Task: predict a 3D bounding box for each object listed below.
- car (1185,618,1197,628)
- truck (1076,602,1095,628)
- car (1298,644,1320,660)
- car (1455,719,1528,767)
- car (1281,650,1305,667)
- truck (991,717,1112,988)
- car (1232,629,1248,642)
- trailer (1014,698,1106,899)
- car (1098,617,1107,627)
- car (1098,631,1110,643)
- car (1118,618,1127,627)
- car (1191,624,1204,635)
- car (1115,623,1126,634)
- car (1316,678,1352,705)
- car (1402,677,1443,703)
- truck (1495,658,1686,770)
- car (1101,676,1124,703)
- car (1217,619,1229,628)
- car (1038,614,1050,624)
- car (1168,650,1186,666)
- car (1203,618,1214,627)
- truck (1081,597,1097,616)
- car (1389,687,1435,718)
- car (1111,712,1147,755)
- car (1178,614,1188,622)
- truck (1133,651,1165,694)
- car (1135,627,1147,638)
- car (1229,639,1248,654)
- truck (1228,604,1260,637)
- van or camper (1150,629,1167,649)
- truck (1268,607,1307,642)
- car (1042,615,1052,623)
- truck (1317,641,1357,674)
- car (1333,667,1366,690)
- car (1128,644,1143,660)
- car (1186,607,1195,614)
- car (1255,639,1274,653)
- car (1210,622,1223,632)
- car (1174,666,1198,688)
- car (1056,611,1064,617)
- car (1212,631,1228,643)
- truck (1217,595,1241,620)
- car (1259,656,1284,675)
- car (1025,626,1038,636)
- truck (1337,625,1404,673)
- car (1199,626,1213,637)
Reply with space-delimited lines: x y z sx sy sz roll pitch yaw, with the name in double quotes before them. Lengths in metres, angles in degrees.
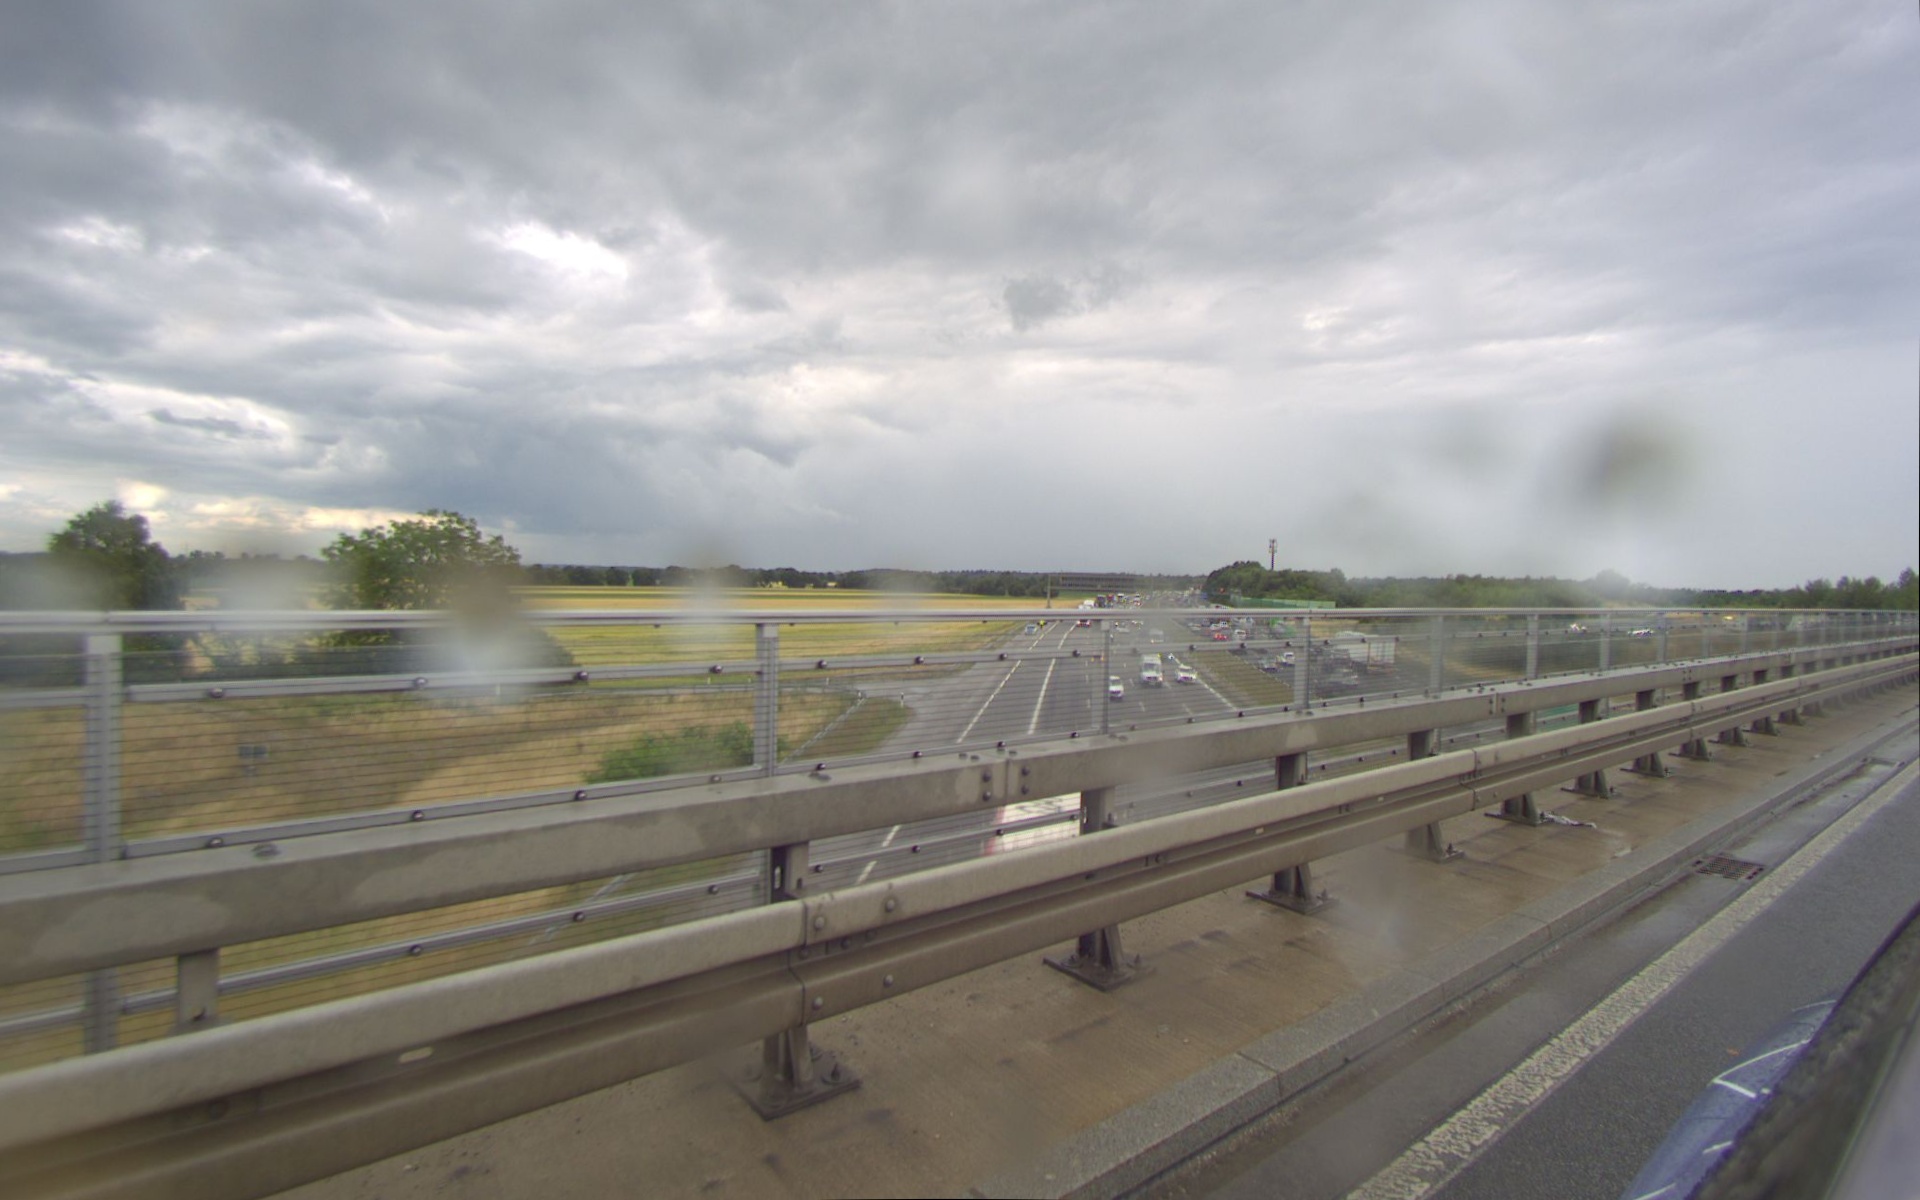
"car" 46.535 4.581 203.875 1.826 1.797 4.713 0 0 8
"truck" 25.264 2.975 203.367 2.751 4.962 12.711 0 0 12
"car" 43.414 6.462 125.983 1.826 1.690 4.713 0 0 8
"car" 27.008 7.232 51.621 1.826 1.690 4.713 0 0 8
"car" 38.573 6.794 117.428 1.826 1.690 4.713 0 0 8
"truck" 2.642 6.075 27.057 2.641 4.685 9.731 0 0 8
"car" 45.080 5.708 163.110 1.826 1.797 4.713 0 0 8
"trailer" 3.531 6.160 33.959 2.641 4.687 9.887 0 0 8
"car" 27.886 4.302 197.911 1.826 1.690 4.713 0 0 8
"car" 21.839 5.633 153.549 1.826 1.690 4.713 0 0 8
"car" 32.565 4.502 202.726 1.826 1.690 4.713 0 0 8
"car" 42.882 5.282 182.796 1.826 1.797 4.713 0 0 8
"car" 28.163 5.022 178.062 1.826 1.690 4.713 0 0 8
"car" 30.036 7.353 81.410 1.826 1.690 4.713 0 0 8
"car" 38.397 7.476 84.134 1.826 1.690 4.713 0 0 8
"truck" 35.662 6.119 58.457 3.545 4.595 15.588 0 0 9
"car" 12.019 7.022 79.978 1.784 1.690 4.713 0 0 8
"car" 54.426 4.803 209.257 1.826 1.797 4.713 0 0 8
"car" 15.023 3.396 180.363 1.826 1.690 4.713 0 0 8
"car" 25.687 6.857 119.984 1.784 1.690 4.713 0 0 8
"car" 52.391 4.661 213.323 1.826 1.797 4.713 0 0 8
"truck" 31.303 1.501 245.292 2.751 4.676 12.711 0 0 12
"car" 32.641 7.398 73.174 1.826 1.690 4.713 0 0 8
"car" 9.246 7.274 55.563 1.784 1.690 4.713 0 0 8
"car" 48.662 3.907 220.539 1.826 1.797 4.713 0 0 8
"truck" 17.138 6.494 91.913 2.553 3.219 8.375 0 0 9
"car" 30.096 5.450 168.734 1.826 1.690 4.713 0 0 8
"car" 36.560 6.090 132.852 1.826 1.690 4.713 0 0 8
"truck" 50.535 3.504 180.550 3.241 5.511 15.595 0 0 8
"van or camper" 28.162 5.456 143.857 2.025 2.481 7.312 0 0 8
"truck" 52.937 3.877 163.987 3.241 5.230 15.595 0 0 8
"car" 18.512 4.053 215.387 1.826 1.690 4.713 0 0 8
"truck" 40.950 6.194 110.287 2.175 3.003 9.286 0 0 8
"car" 35.616 7.163 92.641 1.826 1.690 4.713 0 0 8
"car" 21.923 6.515 126.514 1.784 1.690 4.713 0 0 8
"car" 58.067 2.640 254.718 1.826 1.797 4.713 0 0 8
"car" 42.120 6.356 140.177 1.826 1.690 4.713 0 0 8
"car" 49.000 5.205 193.292 1.826 1.797 4.713 0 0 8
"car" 21.413 7.269 96.003 1.784 1.690 4.713 0 0 8
"car" 22.981 3.181 232.512 1.784 1.454 4.714 0 0 7
"car" 39.907 5.613 155.328 1.826 1.690 4.713 0 0 8
"truck" 62.081 1.617 234.114 3.434 5.420 15.595 0 0 8
"car" 33.127 6.967 107.775 1.826 1.690 4.713 0 0 8
"car" 11.492 4.933 162.494 1.784 1.454 4.714 0 0 7
"truck" 45.980 5.306 114.074 3.545 4.595 15.588 0 0 9
"car" 42.038 5.427 172.808 1.826 1.690 4.713 0 0 8
